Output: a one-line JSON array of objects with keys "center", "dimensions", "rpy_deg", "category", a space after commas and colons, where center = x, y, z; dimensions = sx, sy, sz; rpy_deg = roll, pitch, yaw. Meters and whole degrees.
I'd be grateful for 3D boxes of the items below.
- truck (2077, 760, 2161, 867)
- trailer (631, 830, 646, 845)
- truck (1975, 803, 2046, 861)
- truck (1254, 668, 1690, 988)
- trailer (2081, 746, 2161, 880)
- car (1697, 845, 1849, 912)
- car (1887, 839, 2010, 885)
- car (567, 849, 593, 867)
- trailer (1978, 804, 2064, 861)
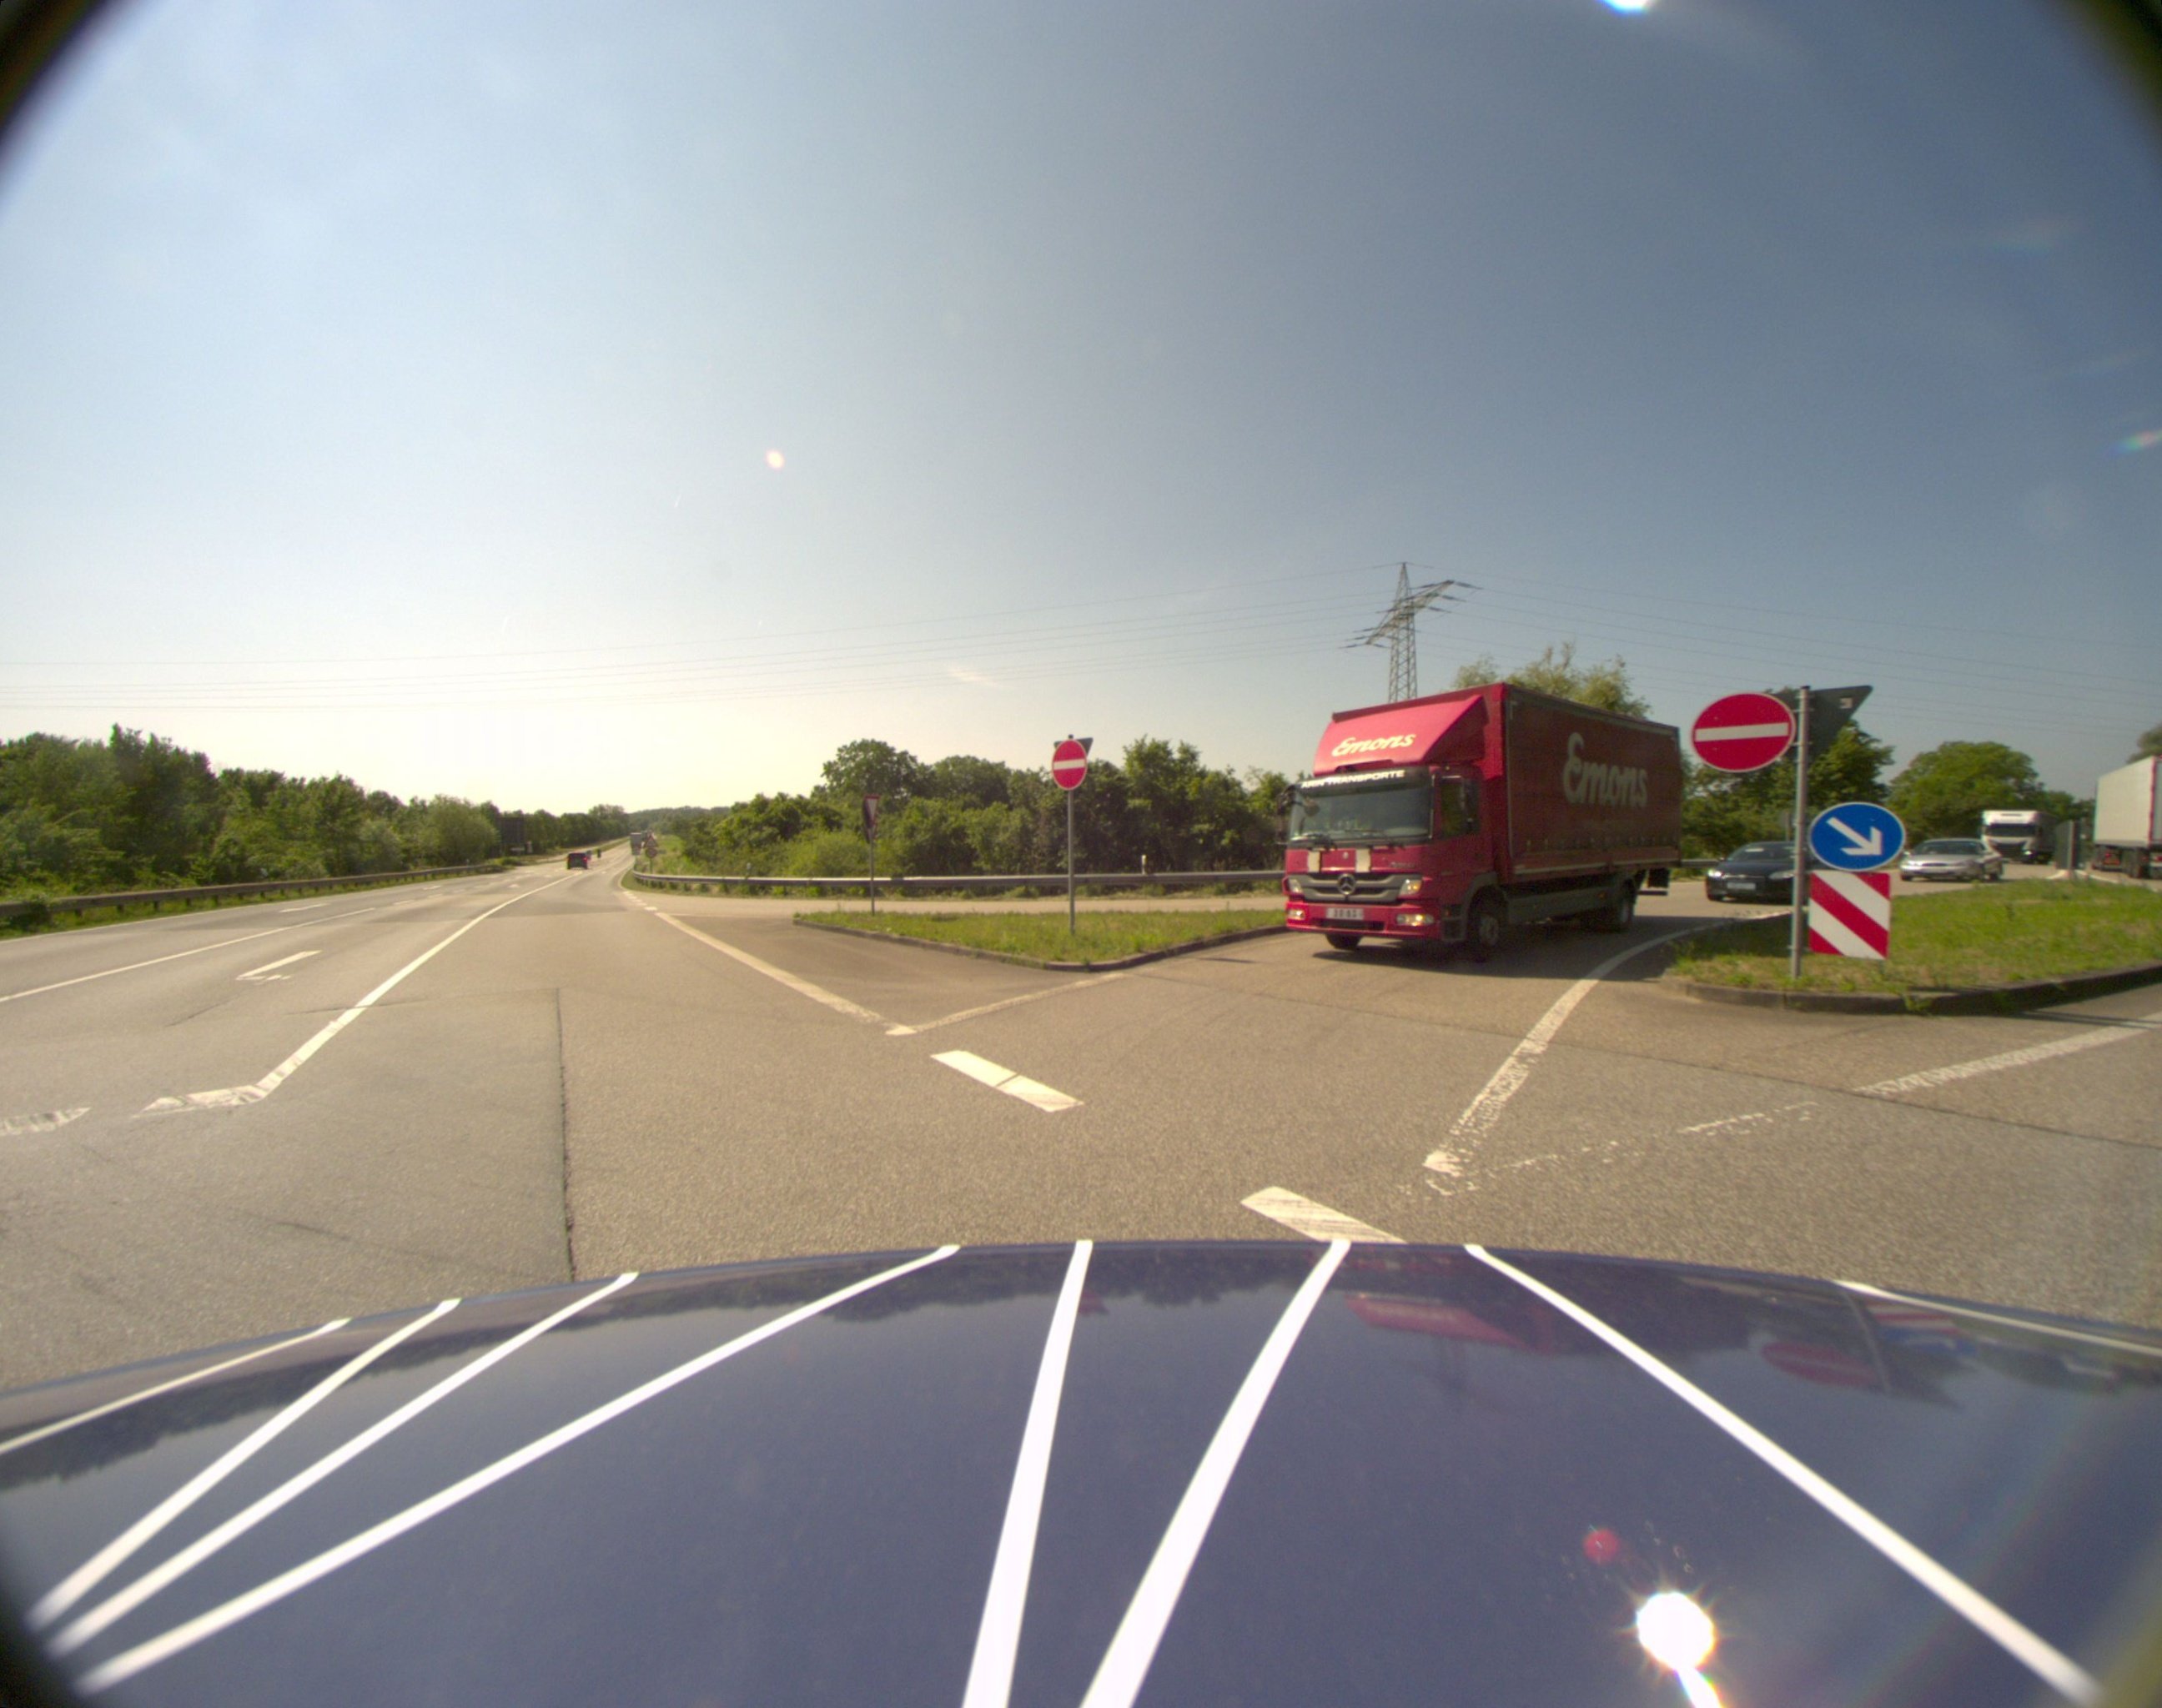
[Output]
[{"center": [43.913, -1.626, 31.455], "dimensions": [5.982, 4.149, 2.872], "rpy_deg": [-2, 1, -41], "category": "truck"}, {"center": [-122.912, -4.532, 211.088], "dimensions": [2.934, 3.988, 13.383], "rpy_deg": [-2, 2, -29], "category": "trailer"}, {"center": [70.617, -1.666, 57.686], "dimensions": [5.743, 4.215, 2.932], "rpy_deg": [-1, 3, -36], "category": "truck"}, {"center": [6.972, -0.380, 12.545], "dimensions": [9.279, 3.640, 2.684], "rpy_deg": [-1, 1, -38], "category": "truck"}, {"center": [39.402, -1.467, 27.571], "dimensions": [14.007, 4.141, 2.888], "rpy_deg": [-2, 2, -41], "category": "trailer"}, {"center": [16.812, 0.528, 18.416], "dimensions": [4.007, 1.406, 1.784], "rpy_deg": [-1, 1, -33], "category": "car"}, {"center": [28.830, 0.212, 25.222], "dimensions": [4.384, 1.377, 1.784], "rpy_deg": [-1, 1, -29], "category": "car"}, {"center": [-55.233, 0.450, 83.786], "dimensions": [2.003, 1.868, 4.982], "rpy_deg": [-1, 0, -29], "category": "car"}, {"center": [75.969, -1.763, 61.287], "dimensions": [14.005, 4.217, 2.922], "rpy_deg": [-1, 3, -34], "category": "trailer"}]
